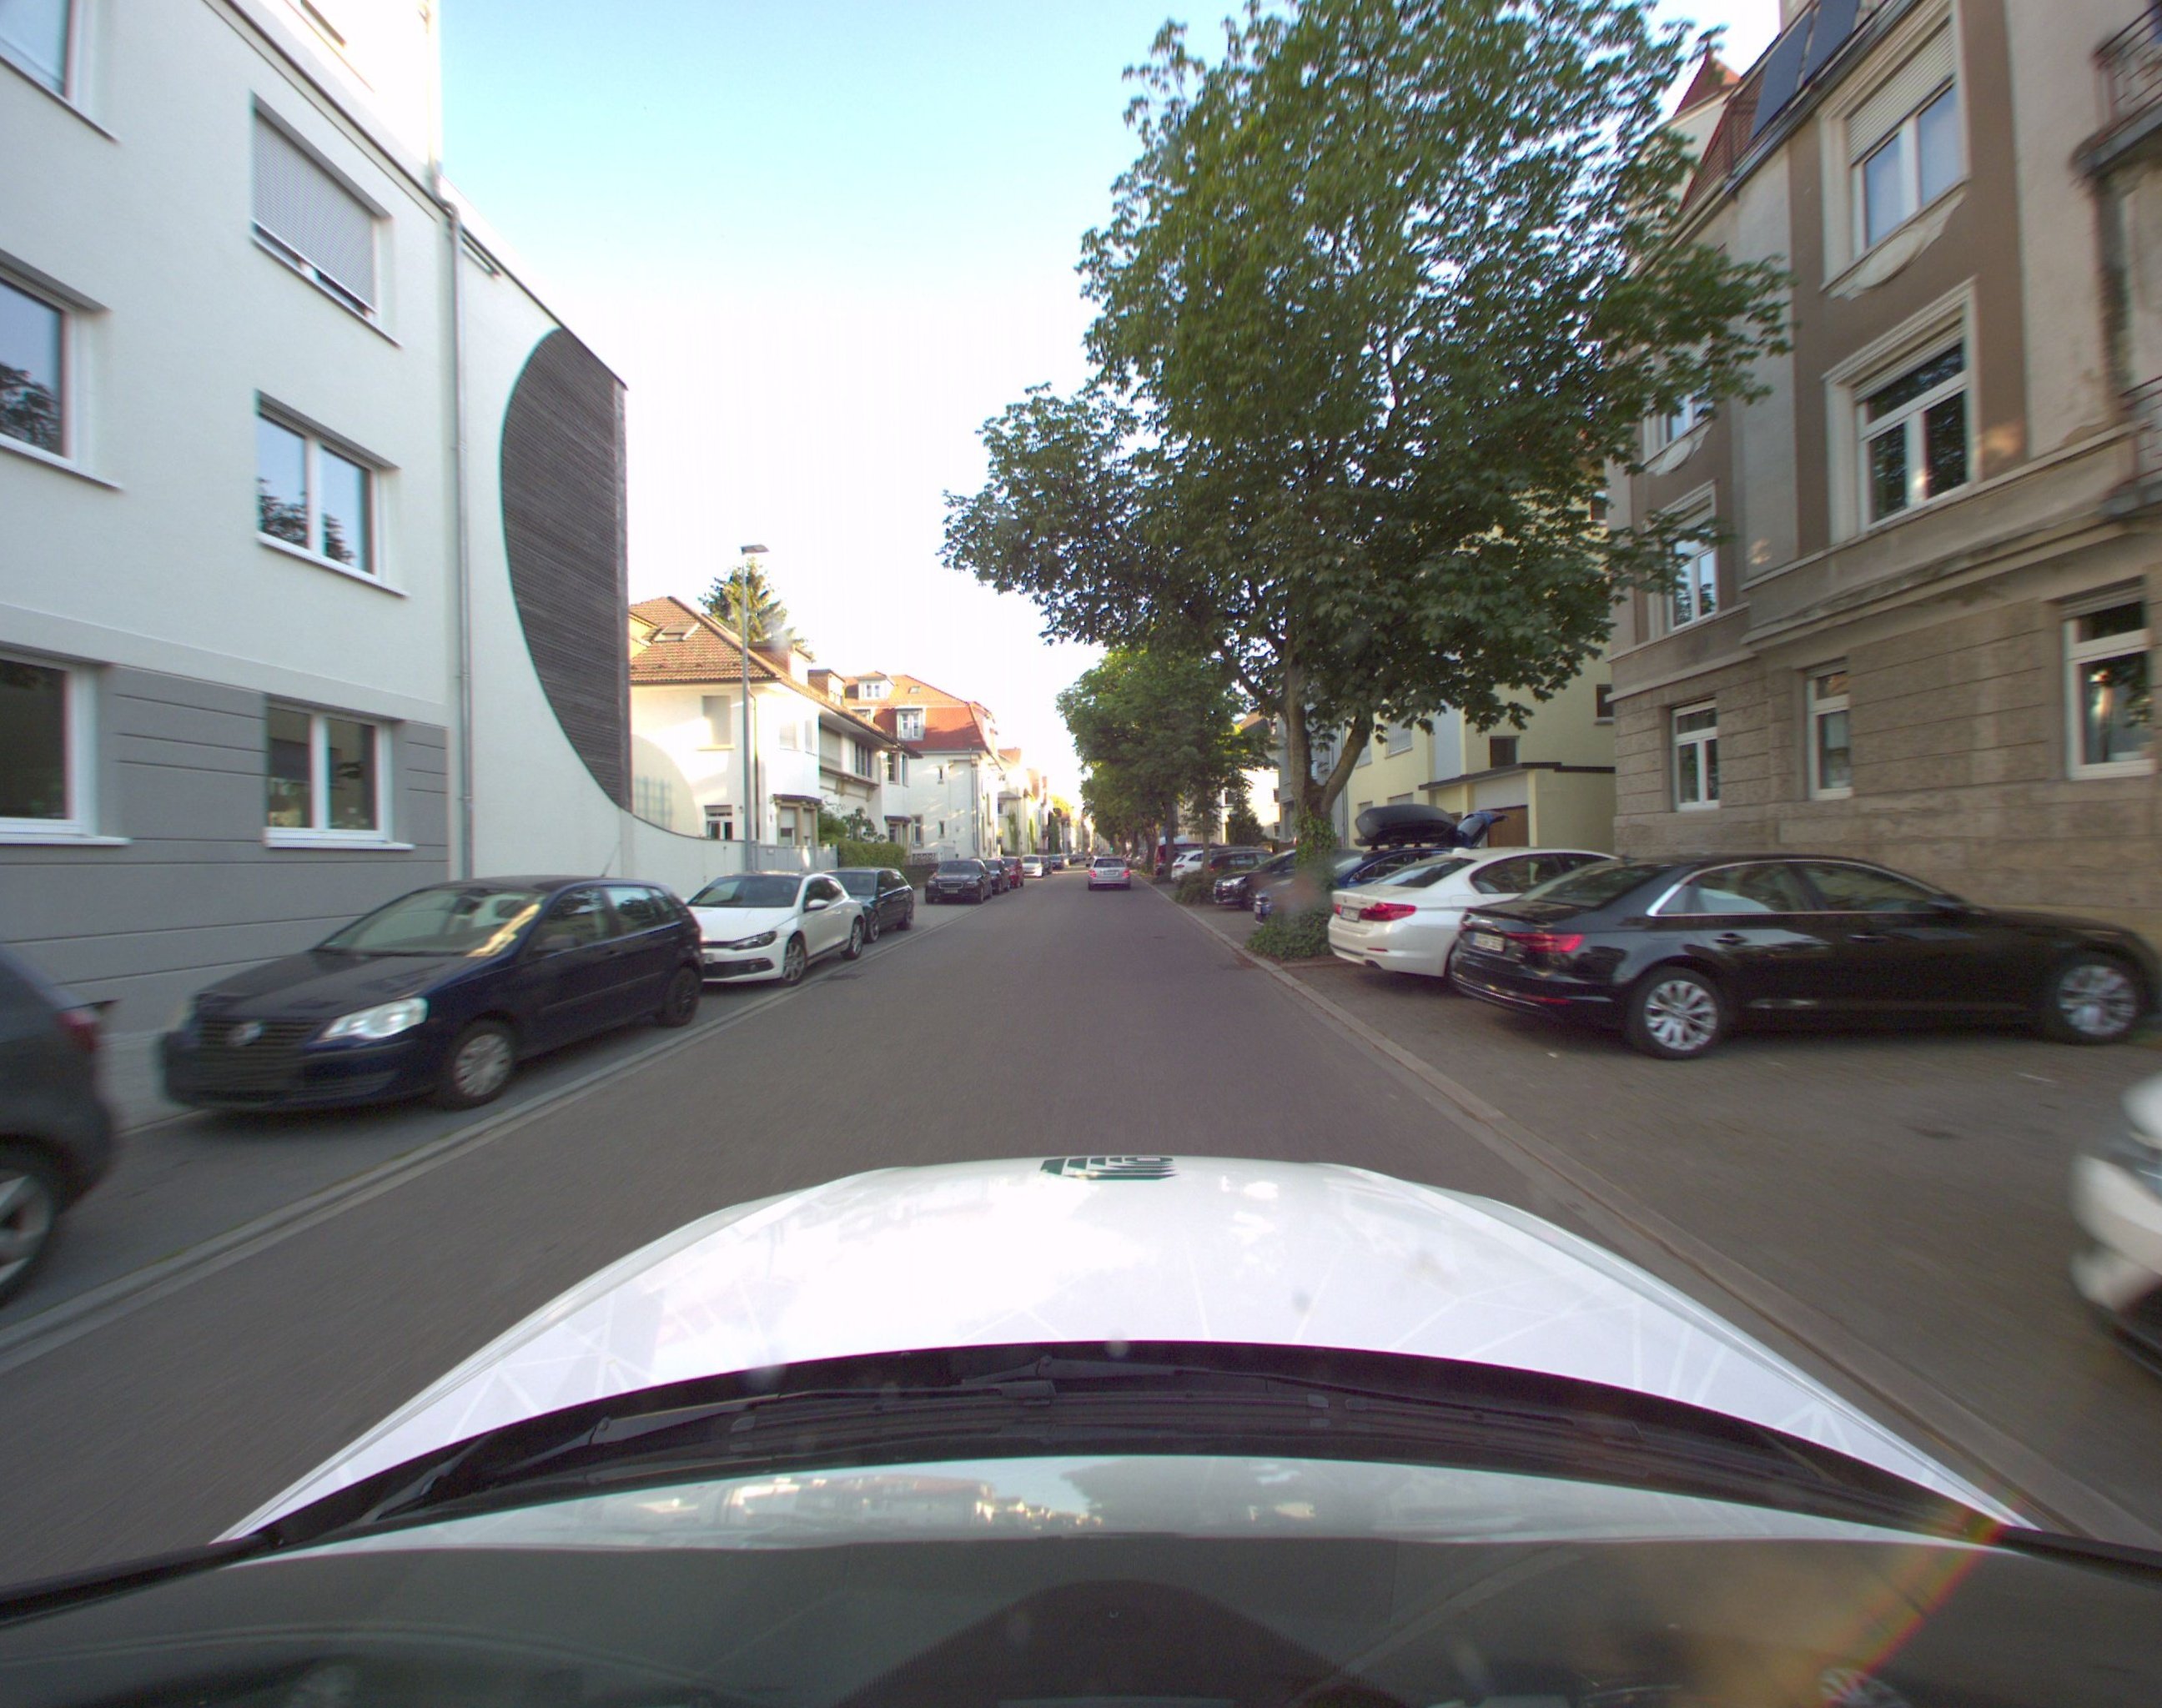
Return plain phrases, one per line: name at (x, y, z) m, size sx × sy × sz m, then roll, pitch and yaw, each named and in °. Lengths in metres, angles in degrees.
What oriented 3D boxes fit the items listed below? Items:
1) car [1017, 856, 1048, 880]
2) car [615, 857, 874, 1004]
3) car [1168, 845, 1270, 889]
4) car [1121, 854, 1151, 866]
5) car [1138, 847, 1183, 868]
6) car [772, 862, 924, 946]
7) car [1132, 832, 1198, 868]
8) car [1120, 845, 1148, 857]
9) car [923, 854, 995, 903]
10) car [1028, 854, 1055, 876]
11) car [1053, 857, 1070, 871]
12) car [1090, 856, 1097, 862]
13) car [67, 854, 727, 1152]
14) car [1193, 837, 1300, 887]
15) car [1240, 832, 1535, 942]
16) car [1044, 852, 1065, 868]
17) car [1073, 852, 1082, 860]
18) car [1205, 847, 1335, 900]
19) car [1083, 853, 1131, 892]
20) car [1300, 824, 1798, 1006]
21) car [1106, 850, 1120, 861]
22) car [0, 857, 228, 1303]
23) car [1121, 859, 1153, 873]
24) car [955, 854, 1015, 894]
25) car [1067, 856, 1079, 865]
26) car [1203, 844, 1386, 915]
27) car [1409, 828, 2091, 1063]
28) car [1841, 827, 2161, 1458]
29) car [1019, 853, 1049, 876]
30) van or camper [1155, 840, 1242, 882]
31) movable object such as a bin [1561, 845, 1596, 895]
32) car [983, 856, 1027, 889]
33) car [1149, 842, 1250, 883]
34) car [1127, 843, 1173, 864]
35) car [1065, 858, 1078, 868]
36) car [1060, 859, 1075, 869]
car at (-3.227, 0.891, 54.541) m, size 1.653 × 1.499 × 3.755 m, roll -1°, pitch 0°, yaw 2°
car at (-4.326, 0.876, 11.272) m, size 1.878 × 1.591 × 4.088 m, roll -2°, pitch 0°, yaw -1°
car at (5.433, 0.513, 32.349) m, size 3.718 × 1.558 × 1.725 m, roll -2°, pitch 0°, yaw 0°
car at (7.194, 0.768, 106.675) m, size 3.829 × 1.482 × 1.806 m, roll -2°, pitch 0°, yaw 2°
car at (6.686, 0.306, 69.047) m, size 3.584 × 1.659 × 1.649 m, roll -2°, pitch 0°, yaw -1°
car at (-4.573, 0.913, 16.642) m, size 1.751 × 1.447 × 4.144 m, roll -1°, pitch 0°, yaw 2°
car at (7.385, -0.343, 71.976) m, size 5.526 × 2.968 × 2.471 m, roll -2°, pitch 0°, yaw -1°
car at (7.554, -0.415, 115.689) m, size 3.829 × 1.482 × 1.806 m, roll -2°, pitch 0°, yaw 2°
car at (-4.129, 0.787, 28.235) m, size 1.849 × 1.497 × 4.652 m, roll -1°, pitch 0°, yaw -1°
car at (-3.115, 0.848, 64.180) m, size 1.792 × 1.644 × 3.858 m, roll -1°, pitch 0°, yaw 1°
car at (-2.325, 1.207, 98.407) m, size 1.792 × 1.482 × 3.858 m, roll -1°, pitch 1°, yaw 1°
car at (3.164, 1.170, 205.909) m, size 1.792 × 1.387 × 3.607 m, roll -1°, pitch 1°, yaw 1°
car at (-4.697, 0.828, 6.592) m, size 1.878 × 1.591 × 4.088 m, roll -2°, pitch 0°, yaw -1°
car at (6.011, 0.292, 29.851) m, size 3.536 × 1.654 × 1.725 m, roll -2°, pitch 0°, yaw 0°
car at (5.289, 0.549, 14.502) m, size 4.511 × 1.640 × 1.874 m, roll -2°, pitch 0°, yaw 0°
car at (-2.637, 0.620, 81.886) m, size 1.792 × 1.482 × 3.858 m, roll -1°, pitch 1°, yaw 1°
car at (-0.665, 0.414, 163.523) m, size 1.792 × 1.387 × 3.607 m, roll -1°, pitch 1°, yaw 1°
car at (6.194, 0.623, 27.030) m, size 3.909 × 1.558 × 1.727 m, roll -2°, pitch 1°, yaw 3°
car at (1.177, 0.761, 34.798) m, size 1.809 × 1.473 × 4.221 m, roll -2°, pitch -1°, yaw 4°
car at (4.977, 0.571, 9.070) m, size 4.469 × 1.525 × 1.951 m, roll -3°, pitch 1°, yaw -5°
car at (4.584, 0.272, 115.829) m, size 1.809 × 1.473 × 4.221 m, roll -2°, pitch -1°, yaw 4°
car at (-4.806, 0.836, 1.623) m, size 1.878 × 1.591 × 4.088 m, roll -2°, pitch 0°, yaw -1°
car at (6.766, 1.411, 98.514) m, size 3.829 × 1.482 × 1.806 m, roll -2°, pitch 0°, yaw 2°
car at (-3.920, 0.787, 34.123) m, size 1.776 × 1.497 × 4.701 m, roll -1°, pitch 0°, yaw 2°
car at (-1.264, 0.998, 133.482) m, size 1.792 × 1.387 × 3.607 m, roll -1°, pitch 1°, yaw 1°
car at (5.381, 0.627, 20.924) m, size 4.177 × 1.558 × 1.874 m, roll -2°, pitch 0°, yaw 0°
car at (5.083, 0.647, 6.613) m, size 4.129 × 1.448 × 1.673 m, roll -3°, pitch 0°, yaw 0°
car at (4.594, 0.622, 1.819) m, size 4.035 × 1.505 × 1.862 m, roll -2°, pitch 0°, yaw 0°
car at (-3.415, 0.774, 59.420) m, size 1.792 × 1.644 × 3.858 m, roll -1°, pitch -1°, yaw 1°
van or camper at (6.031, 0.341, 42.266) m, size 4.293 × 2.013 × 2.002 m, roll -1°, pitch 0°, yaw 4°
movable object such as a bin at (11.260, 0.362, 18.448) m, size 0.454 × 1.086 × 0.532 m, roll -1°, pitch -1°, yaw 2°
car at (-3.647, 0.856, 39.729) m, size 1.653 × 1.488 × 3.755 m, roll -1°, pitch 0°, yaw 2°
car at (5.721, 0.397, 39.741) m, size 4.609 × 1.836 × 1.954 m, roll -1°, pitch 0°, yaw 1°
car at (7.202, -0.092, 85.078) m, size 4.505 × 2.013 × 2.250 m, roll -2°, pitch 0°, yaw -1°
car at (-1.445, 1.295, 121.727) m, size 1.792 × 1.387 × 3.607 m, roll -1°, pitch 1°, yaw 1°
car at (-1.851, 1.365, 112.502) m, size 1.792 × 1.387 × 3.607 m, roll -1°, pitch 1°, yaw 1°
